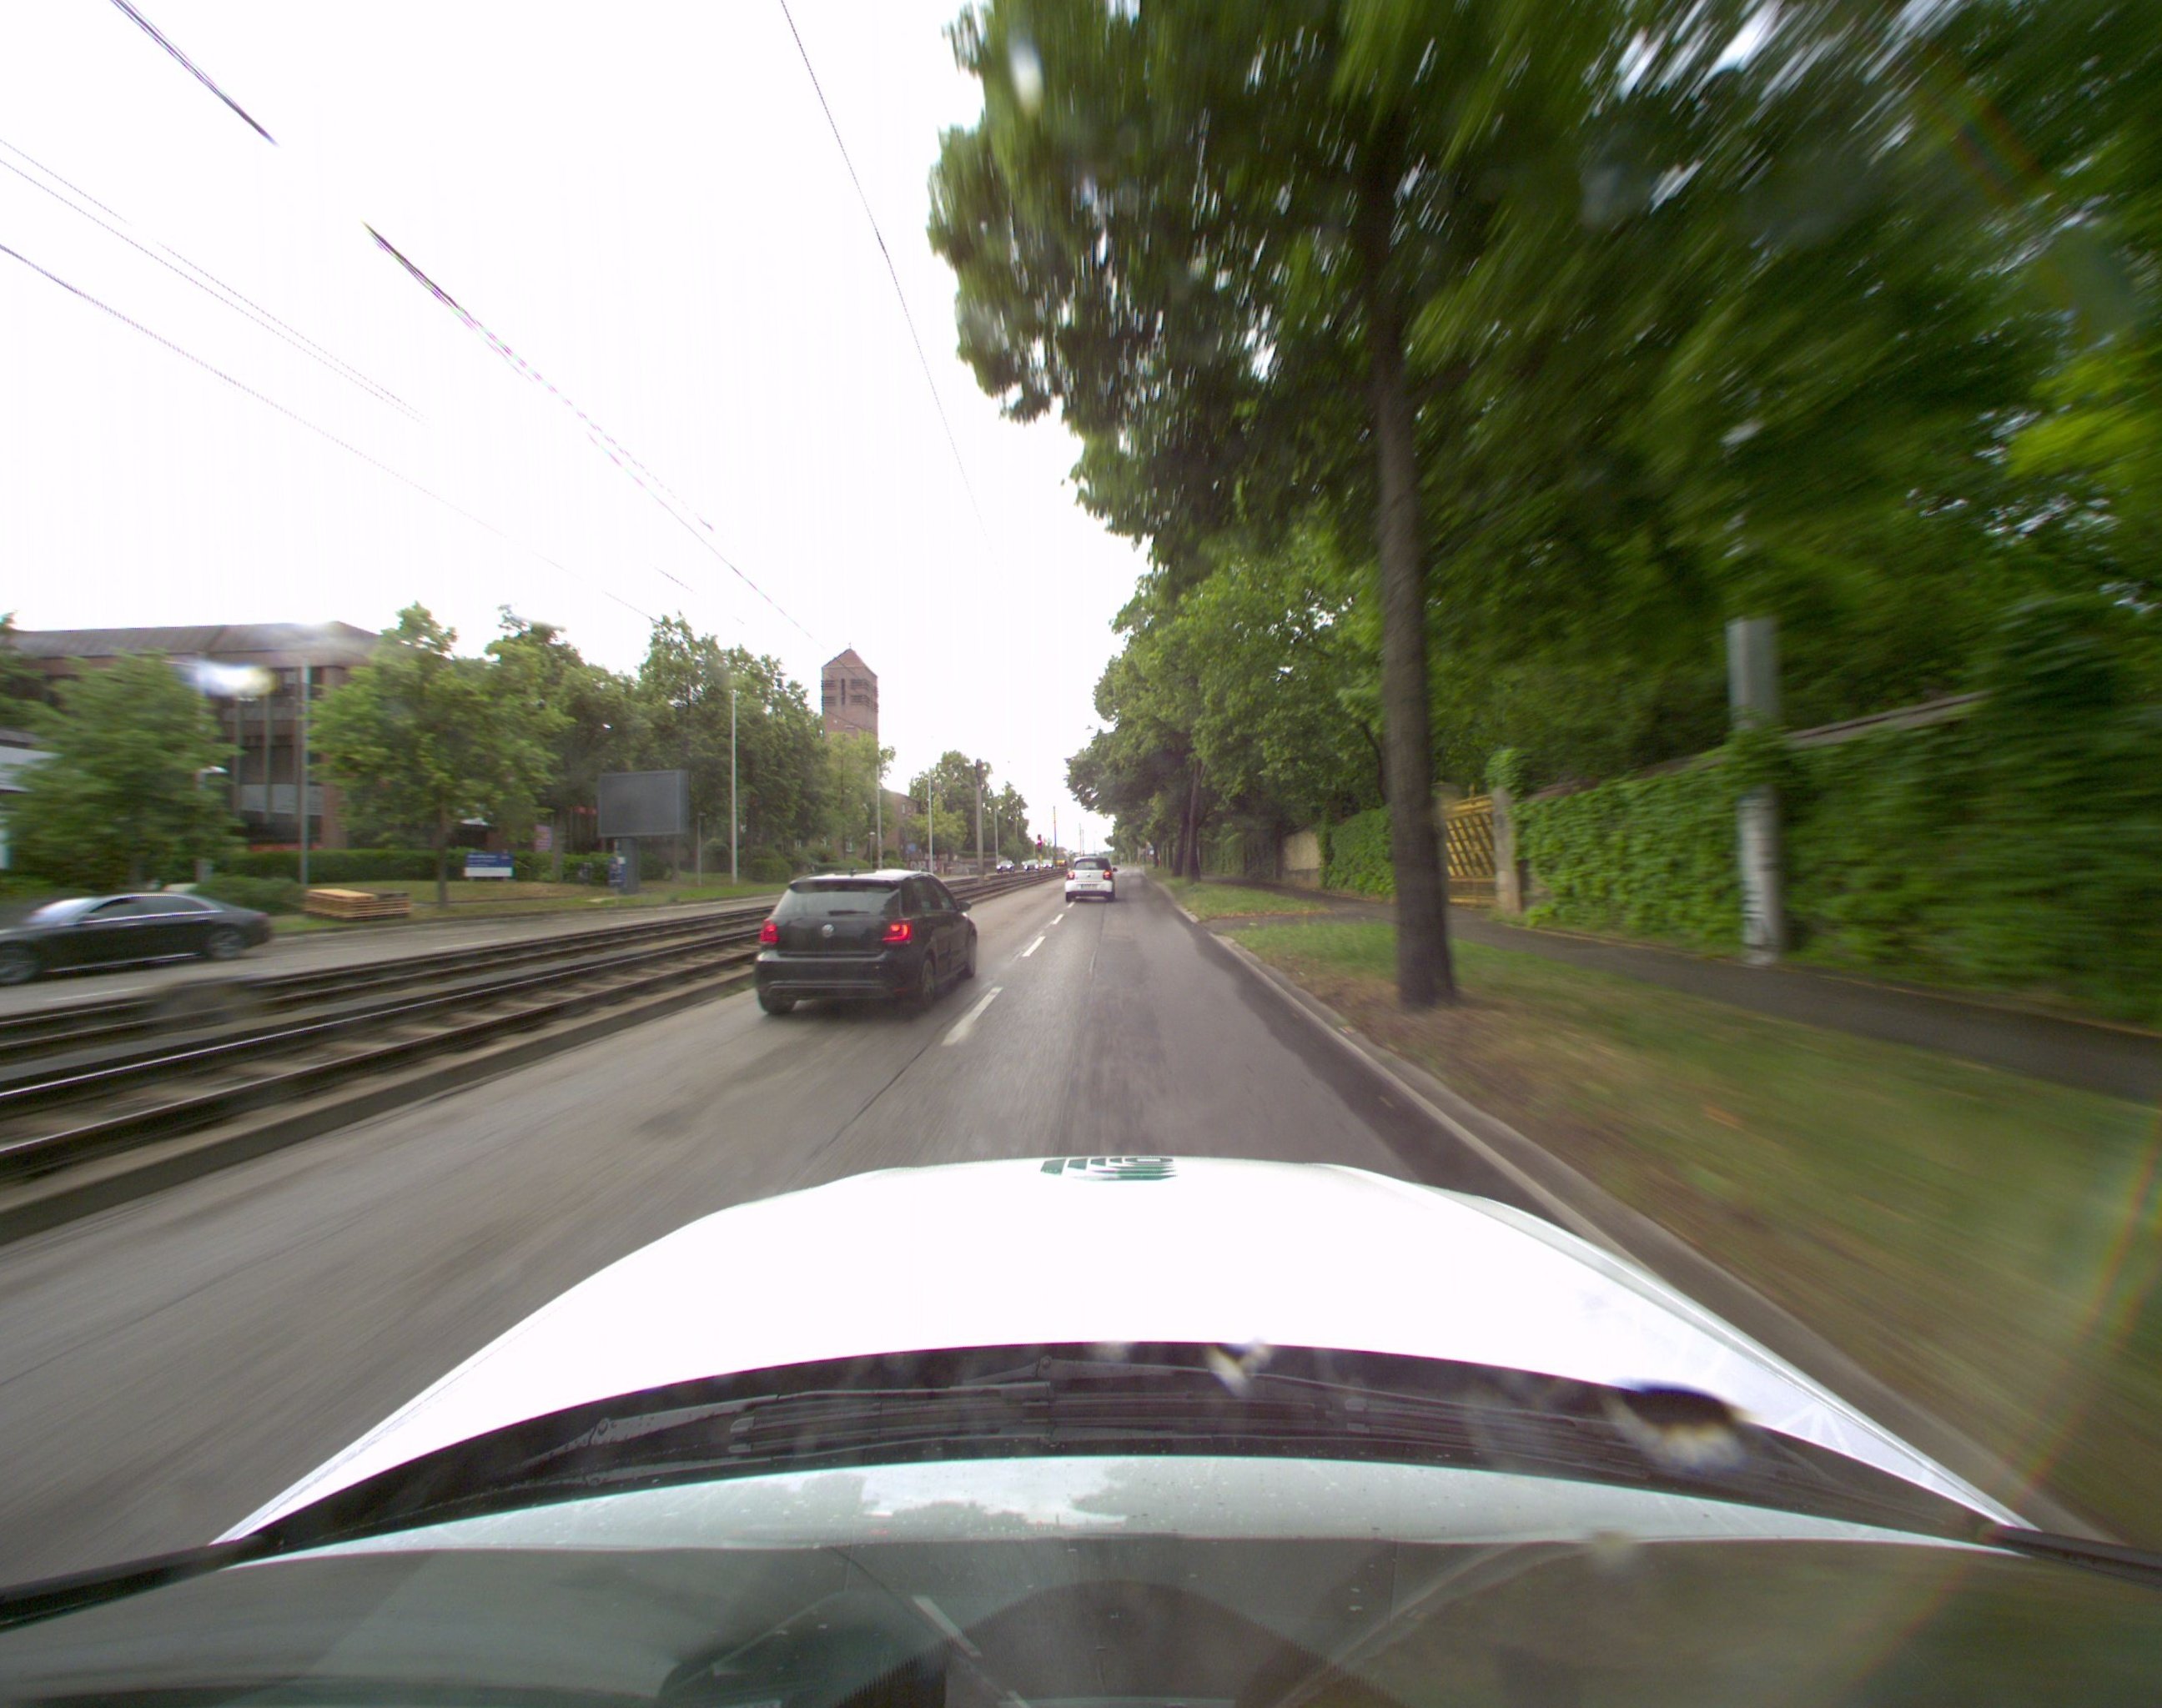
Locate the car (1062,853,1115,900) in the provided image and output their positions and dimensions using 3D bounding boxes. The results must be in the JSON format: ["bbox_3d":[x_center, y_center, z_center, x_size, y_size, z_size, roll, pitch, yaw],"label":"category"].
[{"bbox_3d":[0.323,0.794,29.179,1.669,1.531,3.724,-2,-1,3],"label":"car"}]

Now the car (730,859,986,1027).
[{"bbox_3d":[-2.258,0.822,9.384,1.787,1.485,3.965,0,0,1],"label":"car"}]

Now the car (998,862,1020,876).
[{"bbox_3d":[-9.553,1.986,107.794,2.002,1.656,4.624,-2,0,6],"label":"car"}]

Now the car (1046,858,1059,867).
[{"bbox_3d":[-4.770,1.460,137.610,1.673,1.461,3.612,-2,0,4],"label":"car"}]

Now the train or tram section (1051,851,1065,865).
[{"bbox_3d":[-6.013,0.987,211.596,2.828,3.605,9.250,0,0,-6],"label":"train or tram section"}]

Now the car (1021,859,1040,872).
[{"bbox_3d":[-6.923,1.501,111.303,1.825,1.656,4.246,-2,0,6],"label":"car"}]

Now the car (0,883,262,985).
[{"bbox_3d":[-18.494,1.418,15.071,1.787,1.530,4.626,-2,0,3],"label":"car"}]
